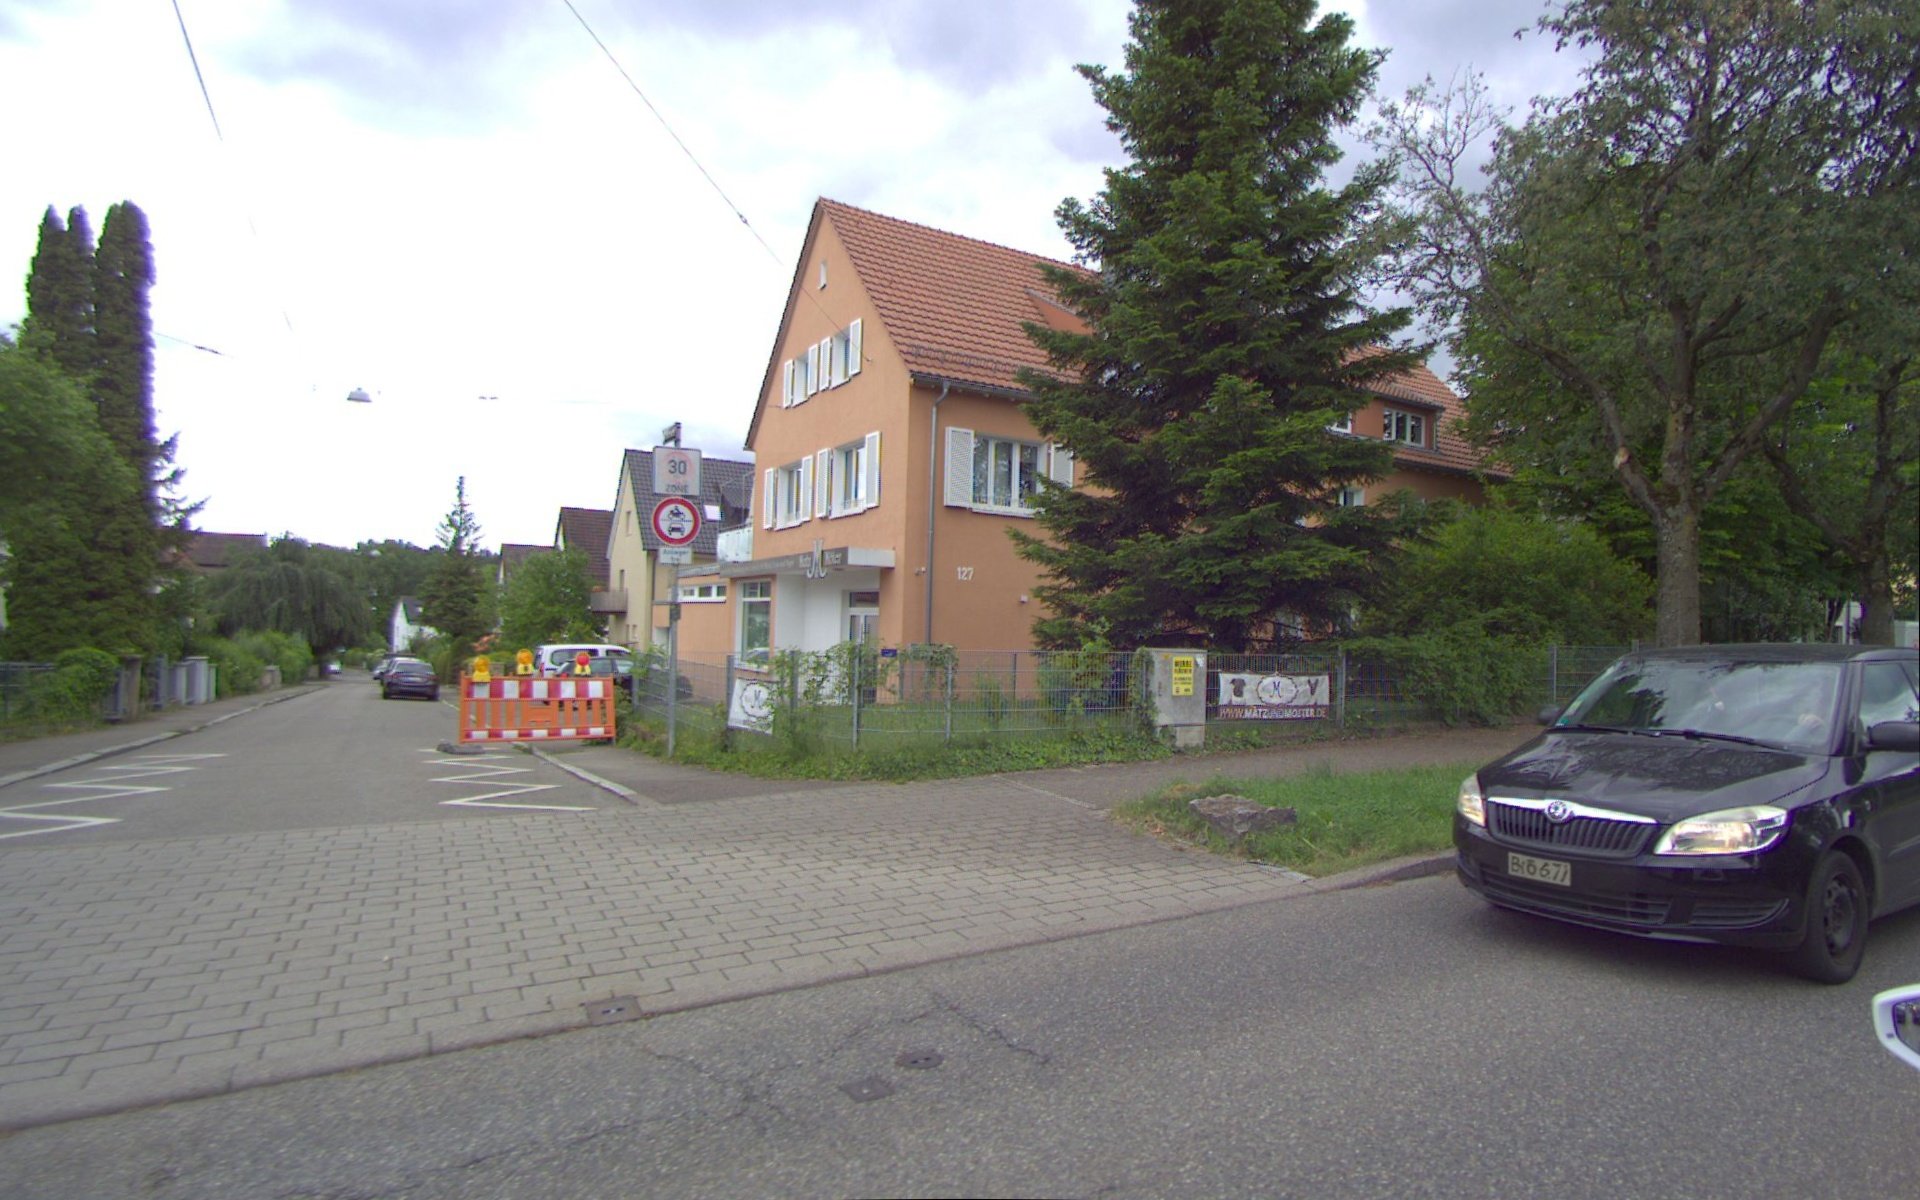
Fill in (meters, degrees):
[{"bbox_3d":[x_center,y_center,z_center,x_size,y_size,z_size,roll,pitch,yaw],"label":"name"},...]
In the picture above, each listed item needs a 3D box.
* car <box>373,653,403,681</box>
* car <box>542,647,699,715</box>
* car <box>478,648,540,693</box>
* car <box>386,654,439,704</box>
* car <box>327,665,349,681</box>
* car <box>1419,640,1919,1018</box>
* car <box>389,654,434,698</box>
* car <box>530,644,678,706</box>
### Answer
[{"bbox_3d":[-38.095,4.466,66.927,1.614,1.795,3.376,1,-3,-29],"label":"car"},{"bbox_3d":[-9.648,2.252,28.584,3.953,1.784,1.848,2,-3,-30],"label":"car"},{"bbox_3d":[-18.770,2.871,41.755,1.871,1.639,3.966,2,-1,-31],"label":"car"},{"bbox_3d":[-20.787,2.967,38.146,1.670,1.795,3.376,1,-3,-29],"label":"car"},{"bbox_3d":[-81.410,9.535,131.549,1.974,1.773,3.973,2,0,-26],"label":"car"},{"bbox_3d":[4.437,0.988,5.581,3.697,1.489,1.538,1,-4,-29],"label":"car"},{"bbox_3d":[-23.795,3.252,43.568,1.642,1.795,3.376,1,-3,-29],"label":"car"},{"bbox_3d":[-10.902,2.271,30.792,4.012,1.784,1.812,2,-3,-30],"label":"car"}]
